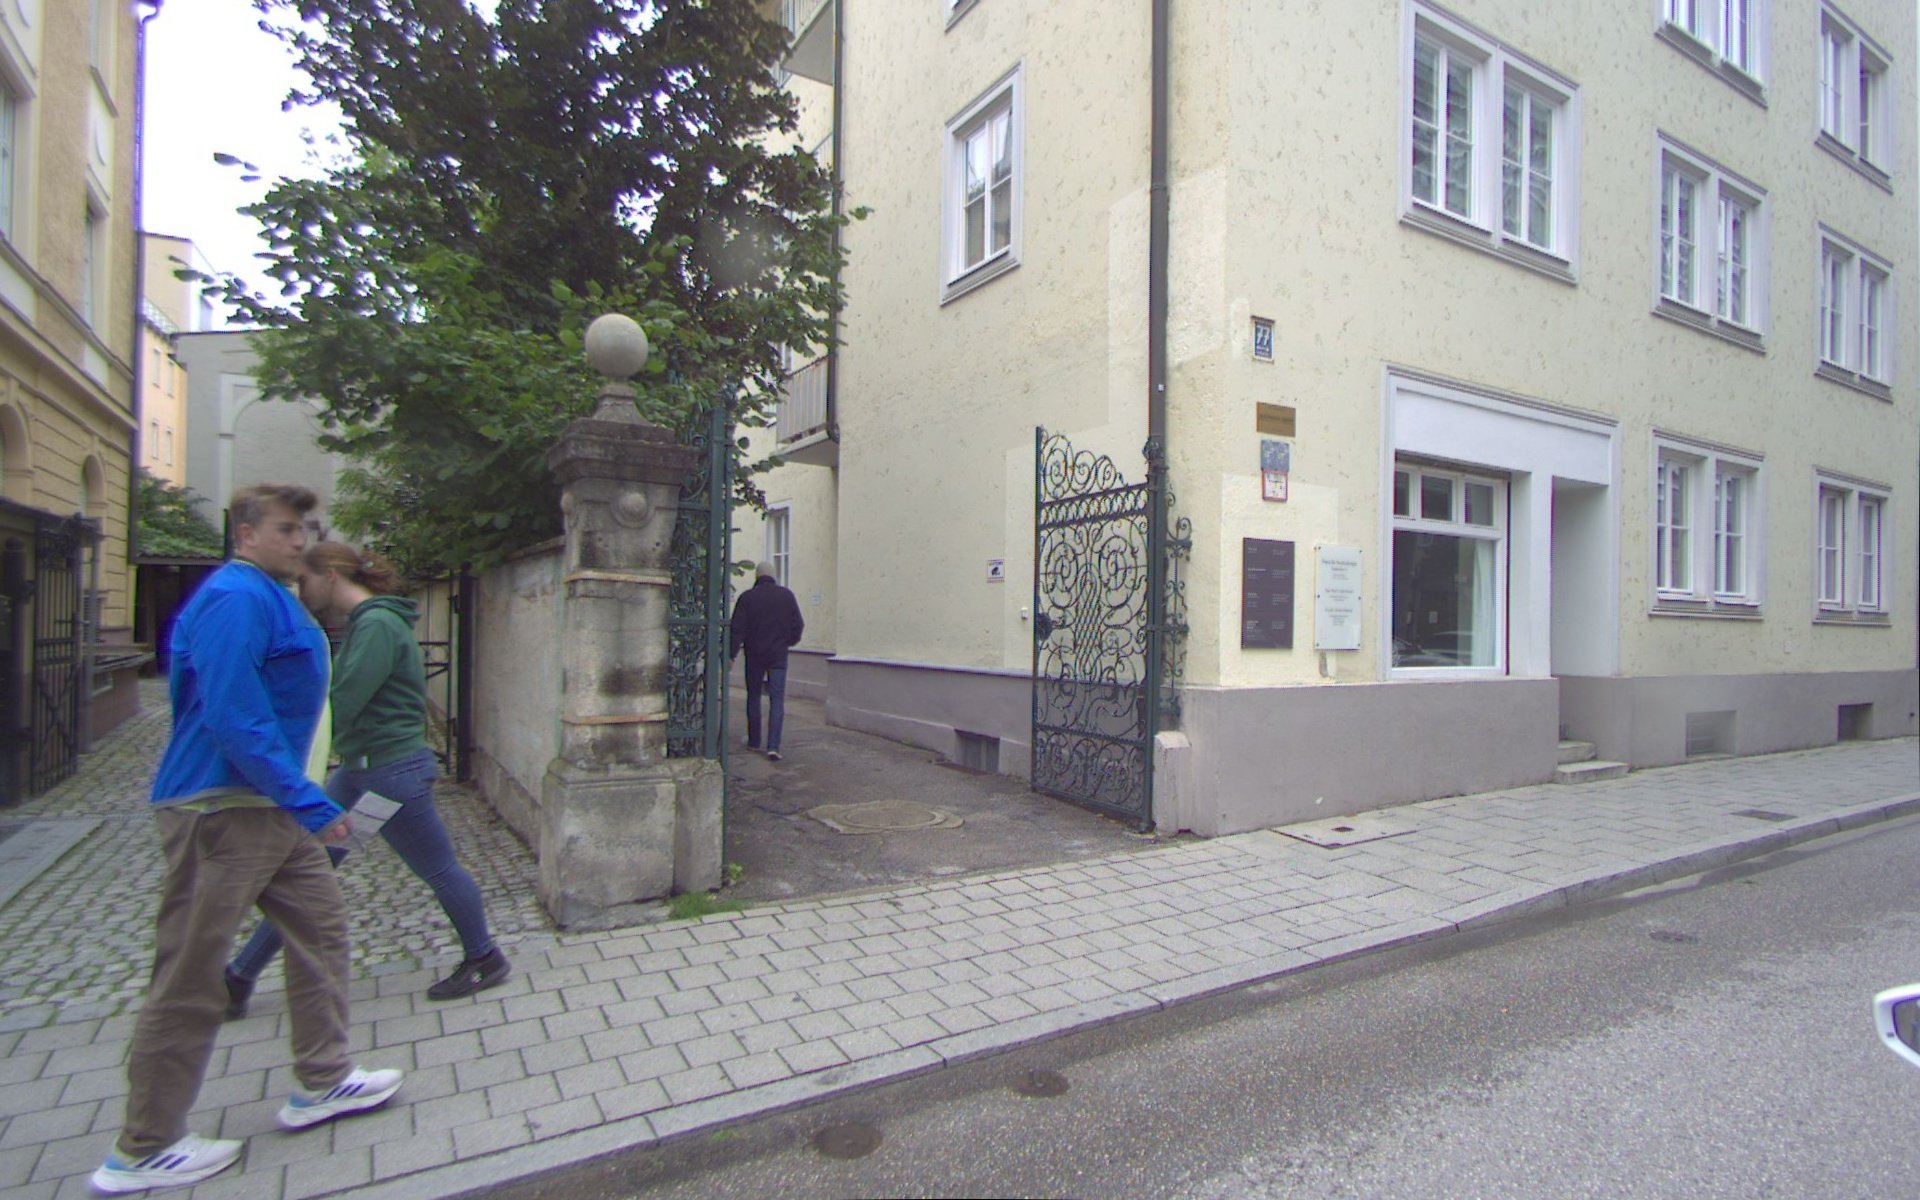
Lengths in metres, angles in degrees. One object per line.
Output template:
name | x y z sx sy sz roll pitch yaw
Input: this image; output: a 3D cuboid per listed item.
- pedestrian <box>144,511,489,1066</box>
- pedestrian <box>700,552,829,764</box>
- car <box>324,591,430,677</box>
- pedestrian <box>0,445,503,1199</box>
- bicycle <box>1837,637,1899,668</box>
pedestrian | -2.245 0.573 3.586 0.919 1.688 0.709 1 2 -32
pedestrian | -1.848 0.522 9.447 0.898 1.851 0.948 1 -1 -32
car | -12.339 0.673 21.445 1.613 1.561 3.707 2 1 -26
pedestrian | -1.922 0.606 2.800 1.065 1.879 0.753 1 0 -31
bicycle | 34.964 2.003 38.702 0.590 1.083 1.650 1 0 -27
